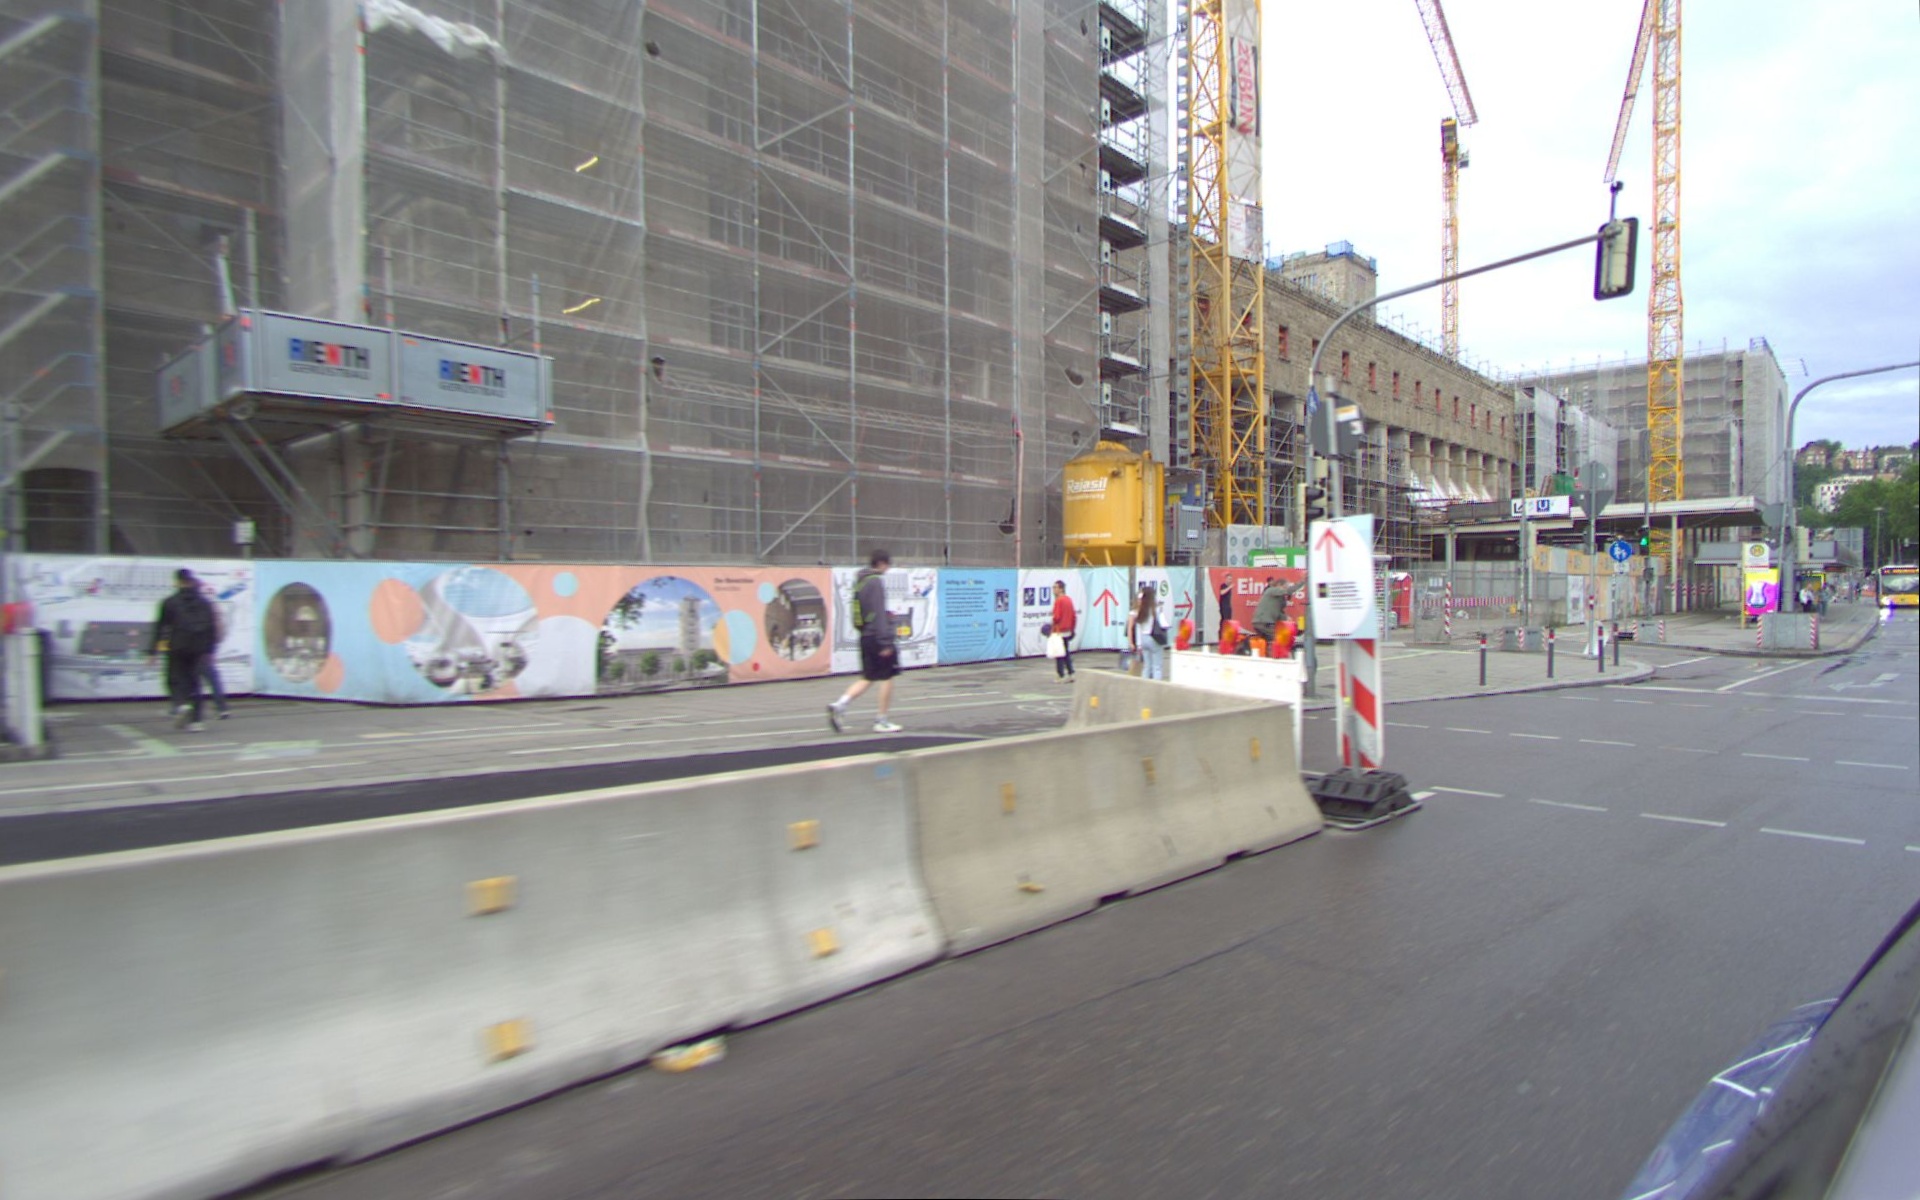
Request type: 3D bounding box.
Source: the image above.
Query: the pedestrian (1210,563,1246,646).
[{"bbox_3d":[6.713,0.102,25.373,0.615,2.039,0.642,0,1,-21],"label":"pedestrian"}]

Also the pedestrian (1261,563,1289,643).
[{"bbox_3d":[8.119,0.064,26.074,0.618,2.039,0.576,0,1,13],"label":"pedestrian"}]

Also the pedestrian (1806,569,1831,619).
[{"bbox_3d":[35.796,-0.267,42.203,0.731,2.039,0.637,1,1,39],"label":"pedestrian"}]

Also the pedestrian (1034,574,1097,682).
[{"bbox_3d":[1.756,0.456,16.893,0.730,1.749,0.713,0,-1,-40],"label":"pedestrian"}]

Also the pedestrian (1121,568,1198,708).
[{"bbox_3d":[2.732,0.485,13.832,0.798,1.776,0.808,3,5,28],"label":"pedestrian"}]

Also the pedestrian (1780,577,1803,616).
[{"bbox_3d":[36.680,-0.153,44.657,0.608,1.715,0.681,0,1,-39],"label":"pedestrian"}]

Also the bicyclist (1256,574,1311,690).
[{"bbox_3d":[4.933,0.471,15.463,0.425,1.726,0.698,0,1,-27],"label":"bicyclist"}]

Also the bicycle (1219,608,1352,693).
[{"bbox_3d":[4.998,0.742,15.502,1.951,1.148,0.757,-2,1,-26],"label":"bicycle"}]

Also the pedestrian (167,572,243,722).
[{"bbox_3d":[-9.329,0.542,12.504,0.813,1.777,0.639,1,1,44],"label":"pedestrian"}]

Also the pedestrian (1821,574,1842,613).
[{"bbox_3d":[41.517,-0.323,48.190,0.722,1.846,0.645,-1,1,-41],"label":"pedestrian"}]

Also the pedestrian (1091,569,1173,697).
[{"bbox_3d":[2.484,0.450,14.633,0.866,1.777,0.815,0,1,-40],"label":"pedestrian"}]

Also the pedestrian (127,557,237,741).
[{"bbox_3d":[-8.338,0.484,10.889,0.662,1.872,1.005,0,1,-21],"label":"pedestrian"}]

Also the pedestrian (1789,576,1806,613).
[{"bbox_3d":[39.711,-0.263,47.980,0.548,1.715,0.544,0,1,-41],"label":"pedestrian"}]

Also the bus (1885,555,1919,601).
[{"bbox_3d":[68.617,-1.573,72.754,2.990,3.177,7.647,1,1,42],"label":"bus"}]

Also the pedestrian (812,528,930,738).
[{"bbox_3d":[-0.915,0.324,10.377,0.849,2.037,0.789,3,-1,-36],"label":"pedestrian"}]
